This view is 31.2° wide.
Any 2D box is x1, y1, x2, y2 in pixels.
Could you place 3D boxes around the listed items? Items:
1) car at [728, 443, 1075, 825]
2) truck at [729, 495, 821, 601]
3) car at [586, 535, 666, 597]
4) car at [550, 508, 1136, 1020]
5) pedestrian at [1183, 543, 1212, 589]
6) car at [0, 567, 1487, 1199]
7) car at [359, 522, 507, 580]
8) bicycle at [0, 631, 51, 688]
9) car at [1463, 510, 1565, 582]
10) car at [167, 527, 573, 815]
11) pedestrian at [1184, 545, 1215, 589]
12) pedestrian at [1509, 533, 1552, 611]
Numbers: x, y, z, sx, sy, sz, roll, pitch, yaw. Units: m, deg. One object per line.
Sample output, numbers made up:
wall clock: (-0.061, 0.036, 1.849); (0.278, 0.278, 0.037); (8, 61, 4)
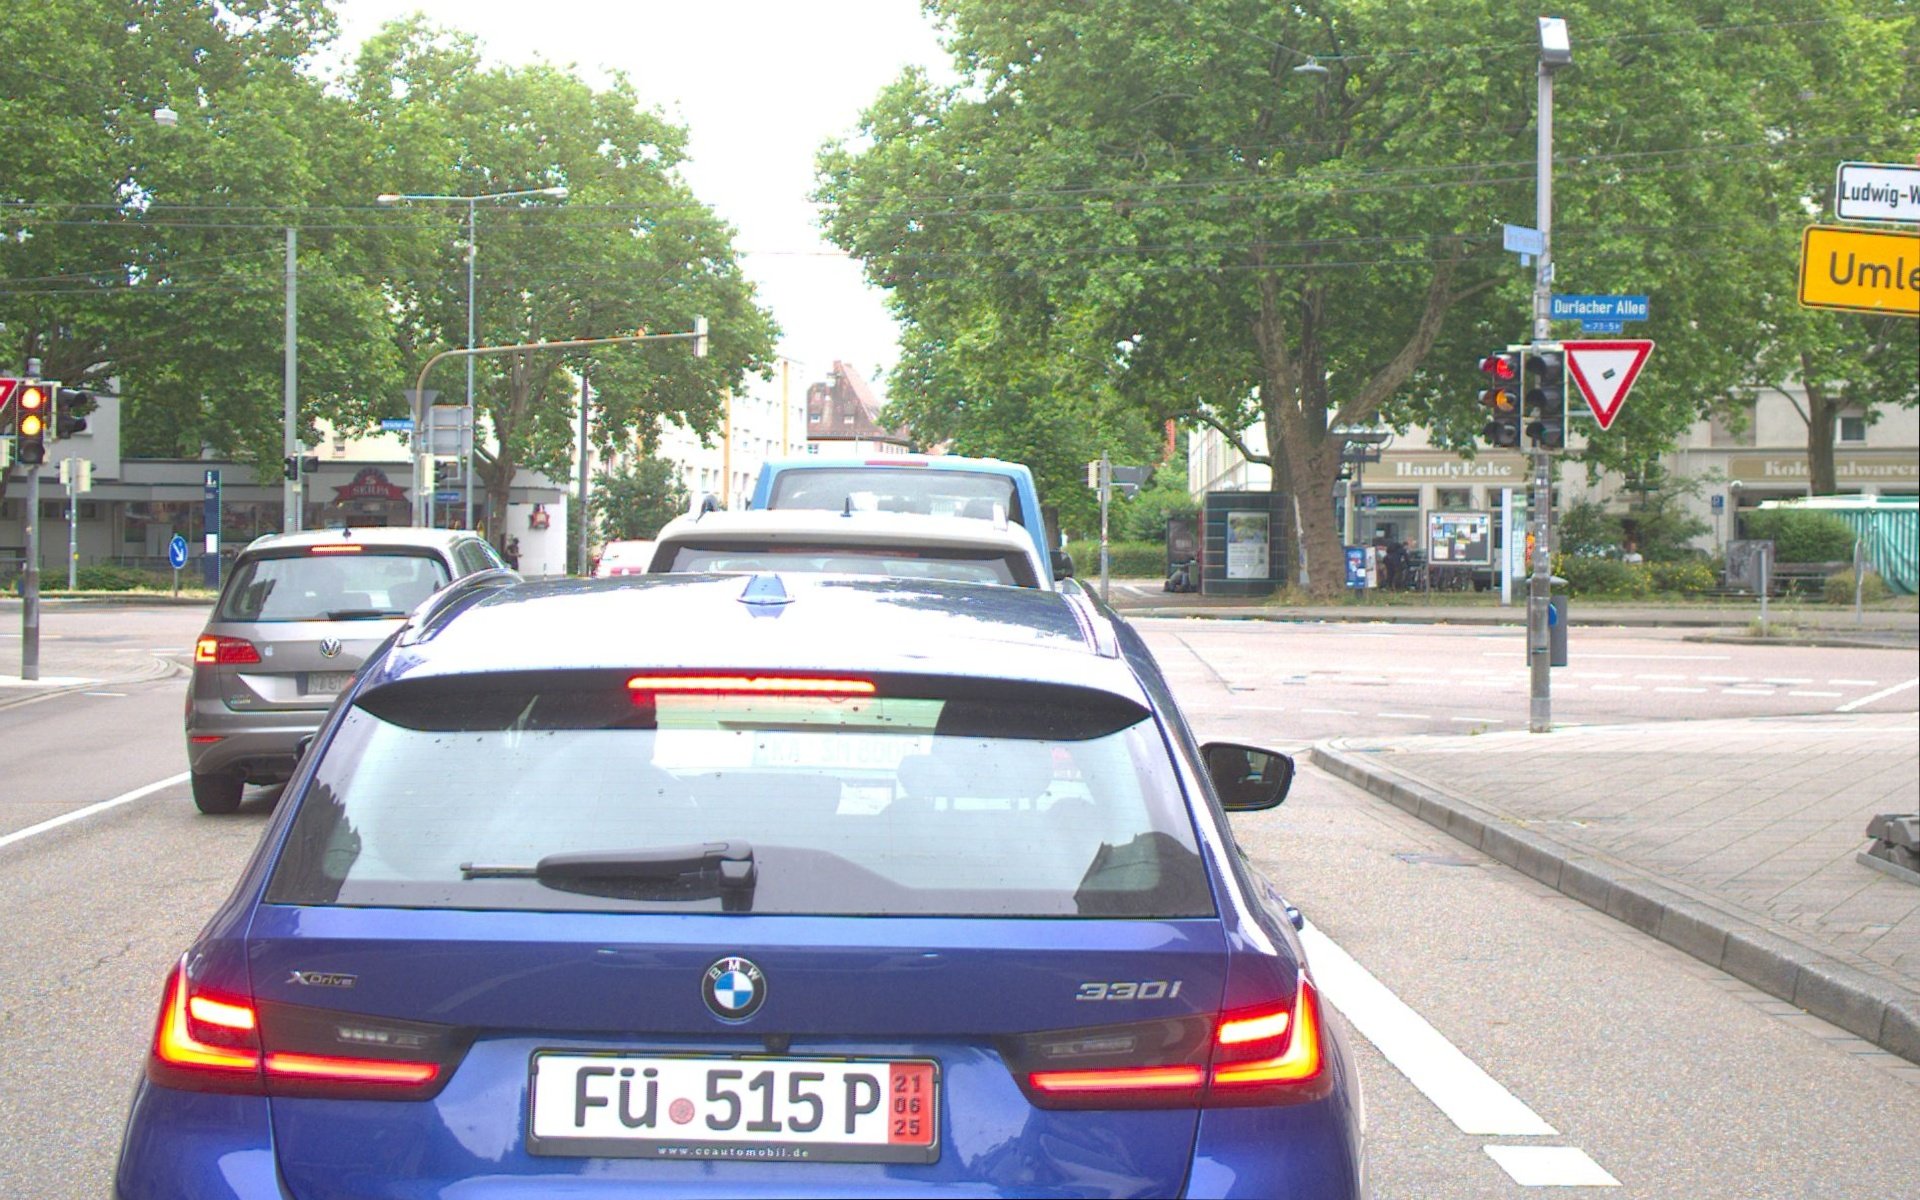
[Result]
car: (-0.331, 0.137, 20.030); (1.815, 1.998, 4.000); (0, 1, -1)
truck: (-4.326, -1.253, 80.870); (2.074, 2.400, 5.463); (0, 1, -2)
car: (-8.067, -0.841, 83.236); (1.649, 1.442, 3.511); (0, 1, -1)
car: (-0.386, 0.469, 12.678); (1.815, 1.586, 4.000); (0, 1, -1)
pedestrian: (7.176, -1.025, 103.939); (0.817, 1.367, 0.763); (0, 1, 0)
car: (-0.305, 0.668, 6.265); (1.815, 1.400, 4.320); (0, 1, -1)
car: (-16.163, -1.499, 105.464); (3.987, 1.700, 2.000); (0, 1, -34)
bicycle: (-9.911, 0.506, 33.403); (1.886, 0.443, 1.029); (6, 2, -2)
car: (17.320, -1.691, 107.398); (2.177, 2.193, 3.995); (1, 1, 24)
car: (-3.342, 0.332, 20.157); (1.732, 1.519, 4.000); (0, 1, -1)
pedestrian: (7.179, -0.977, 103.045); (0.853, 1.310, 0.763); (0, 1, 0)
pedestrian: (12.826, -0.627, 77.346); (0.784, 1.737, 0.925); (0, 1, -2)
